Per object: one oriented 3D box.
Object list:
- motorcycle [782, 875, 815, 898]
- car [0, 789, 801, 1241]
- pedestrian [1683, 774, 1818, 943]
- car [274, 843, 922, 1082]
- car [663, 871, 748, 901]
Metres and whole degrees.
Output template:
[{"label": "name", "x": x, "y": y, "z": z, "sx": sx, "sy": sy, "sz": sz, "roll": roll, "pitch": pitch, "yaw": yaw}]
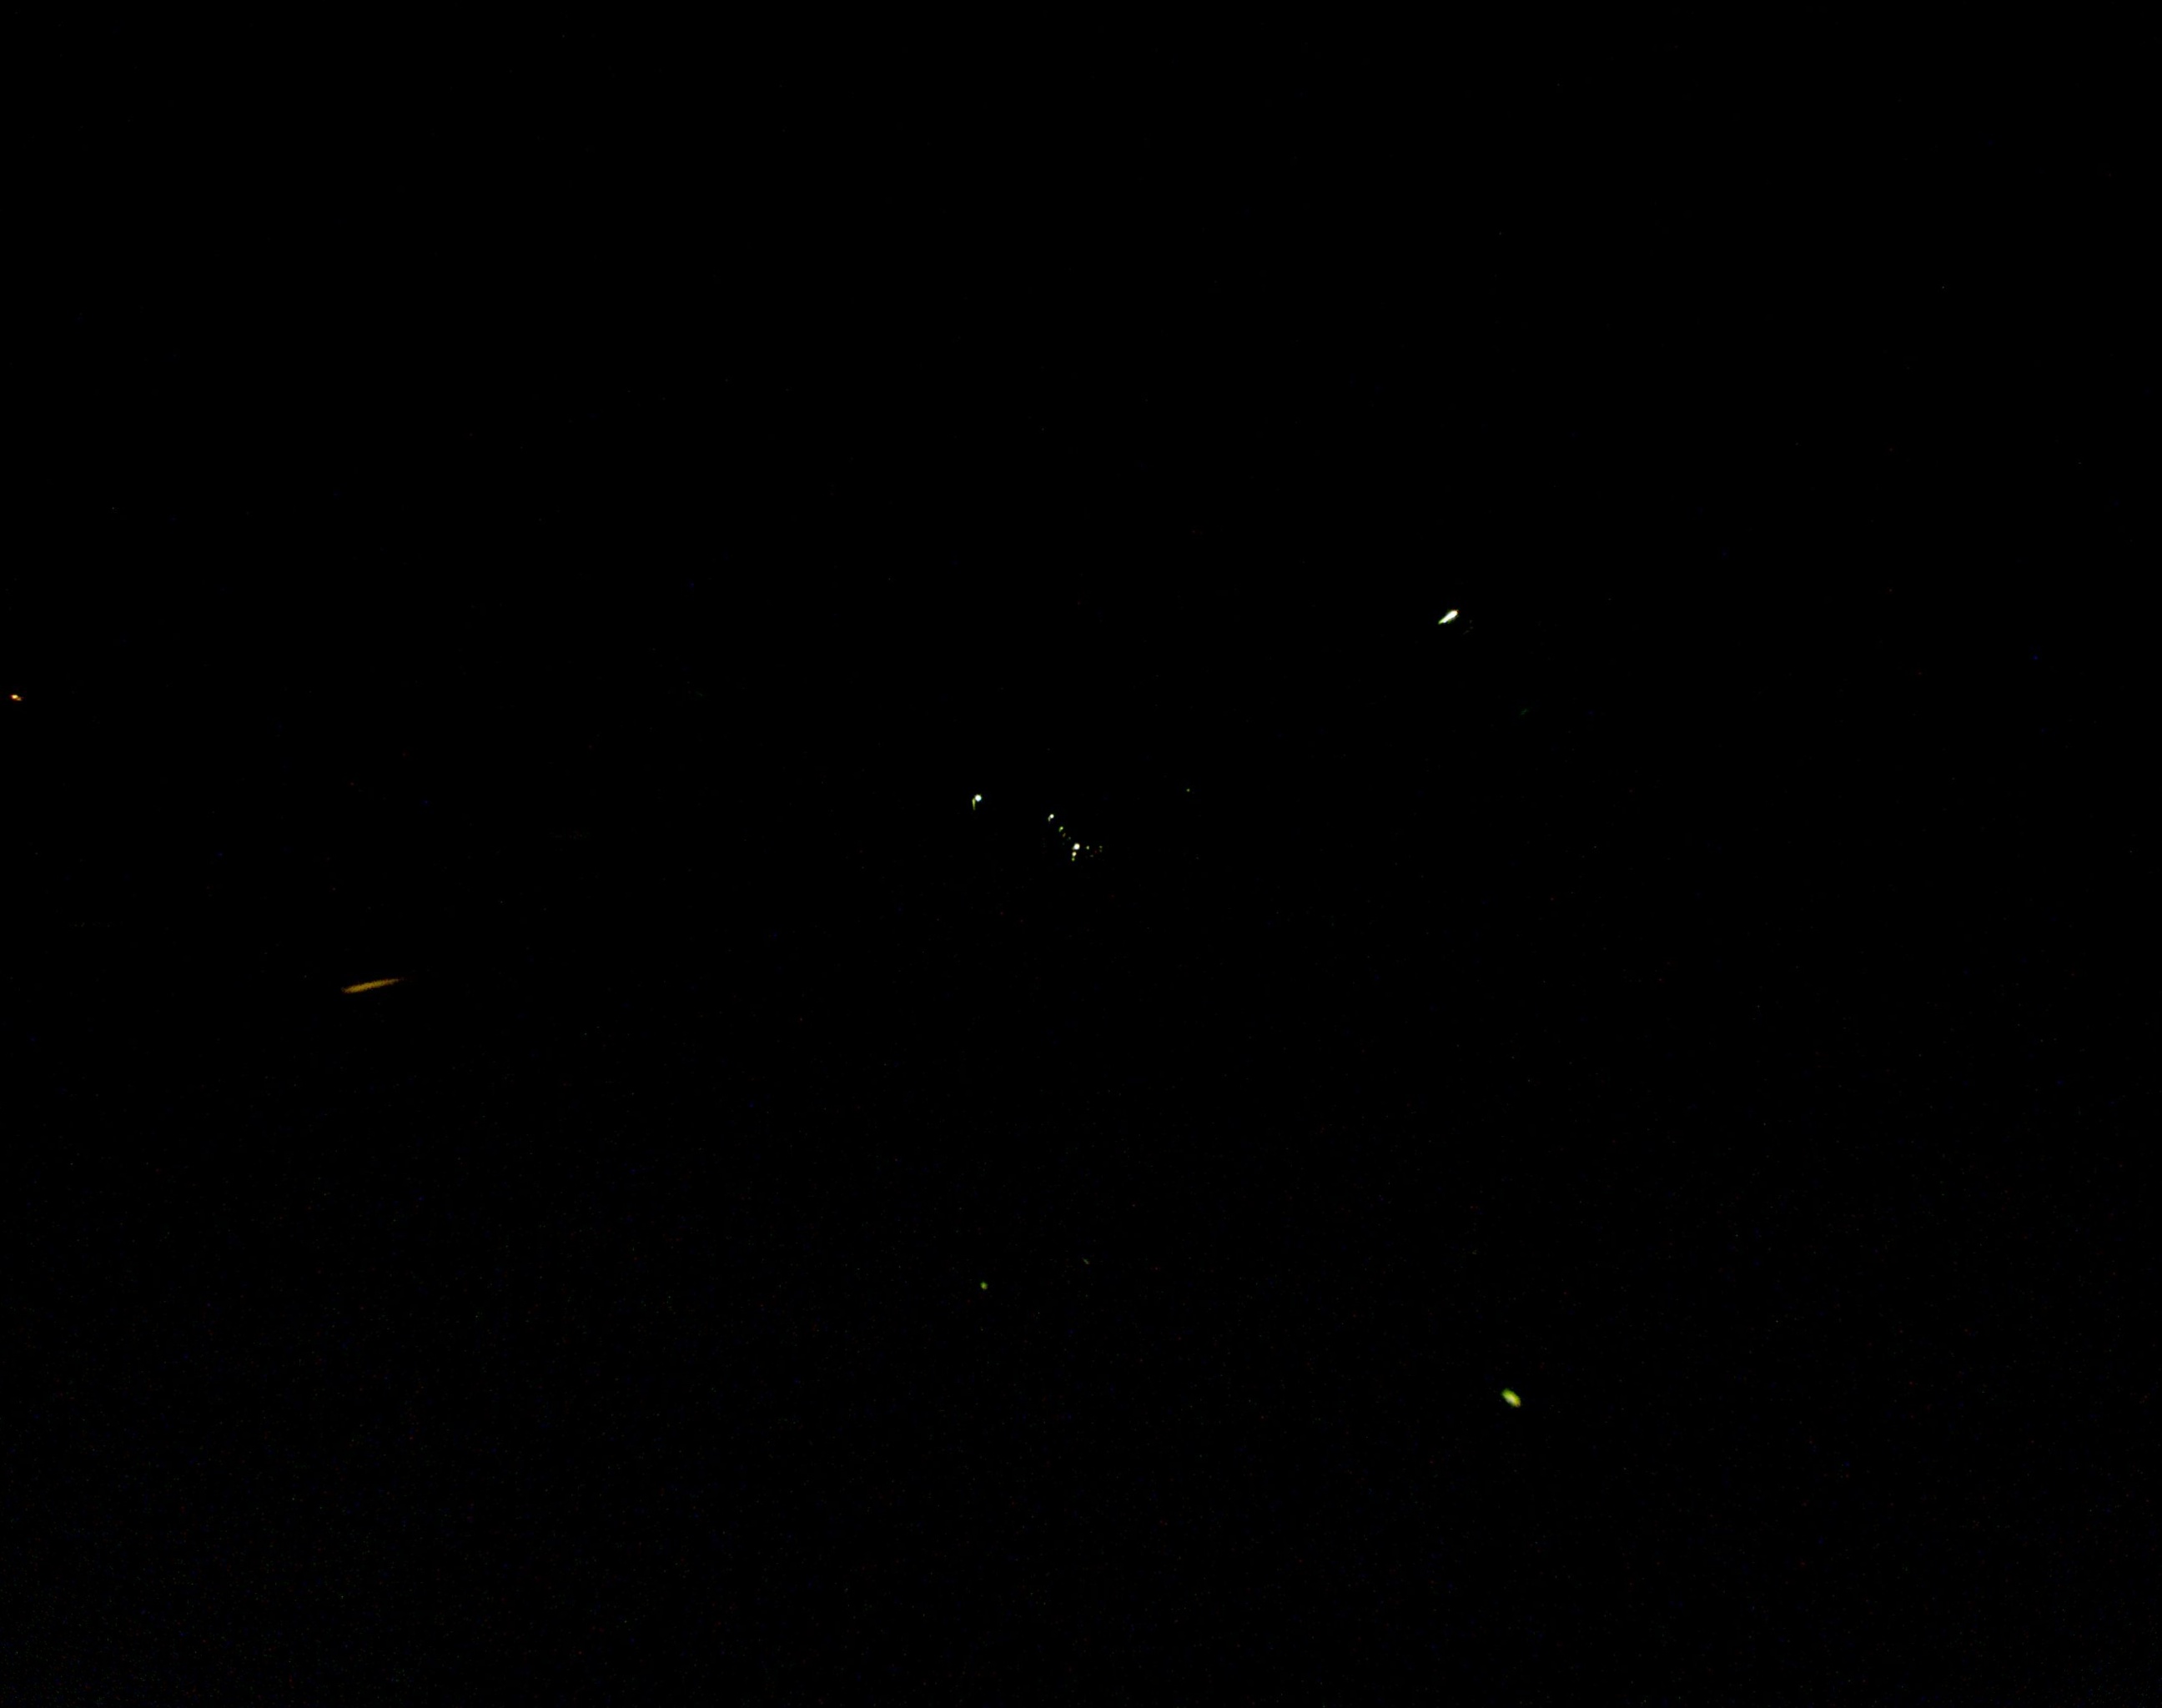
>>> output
[{"label": "motorcycle", "x": -14.484, "y": 1.644, "z": 38.977, "sx": 1.573, "sy": 1.127, "sz": 0.578, "roll": -1, "pitch": 1, "yaw": -19}, {"label": "car", "x": -4.869, "y": 0.860, "z": 4.923, "sx": 5.156, "sy": 2.084, "sz": 2.259, "roll": -3, "pitch": 0, "yaw": 0}, {"label": "pedestrian", "x": 8.067, "y": 0.050, "z": 9.193, "sx": 0.747, "sy": 1.893, "sz": 0.830, "roll": -6, "pitch": 1, "yaw": 1}, {"label": "car", "x": -4.511, "y": 0.962, "z": 7.872, "sx": 5.156, "sy": 1.834, "sz": 2.259, "roll": -3, "pitch": 0, "yaw": 0}, {"label": "car", "x": -18.987, "y": 1.581, "z": 38.598, "sx": 3.551, "sy": 1.362, "sz": 1.757, "roll": -1, "pitch": 0, "yaw": -14}]
